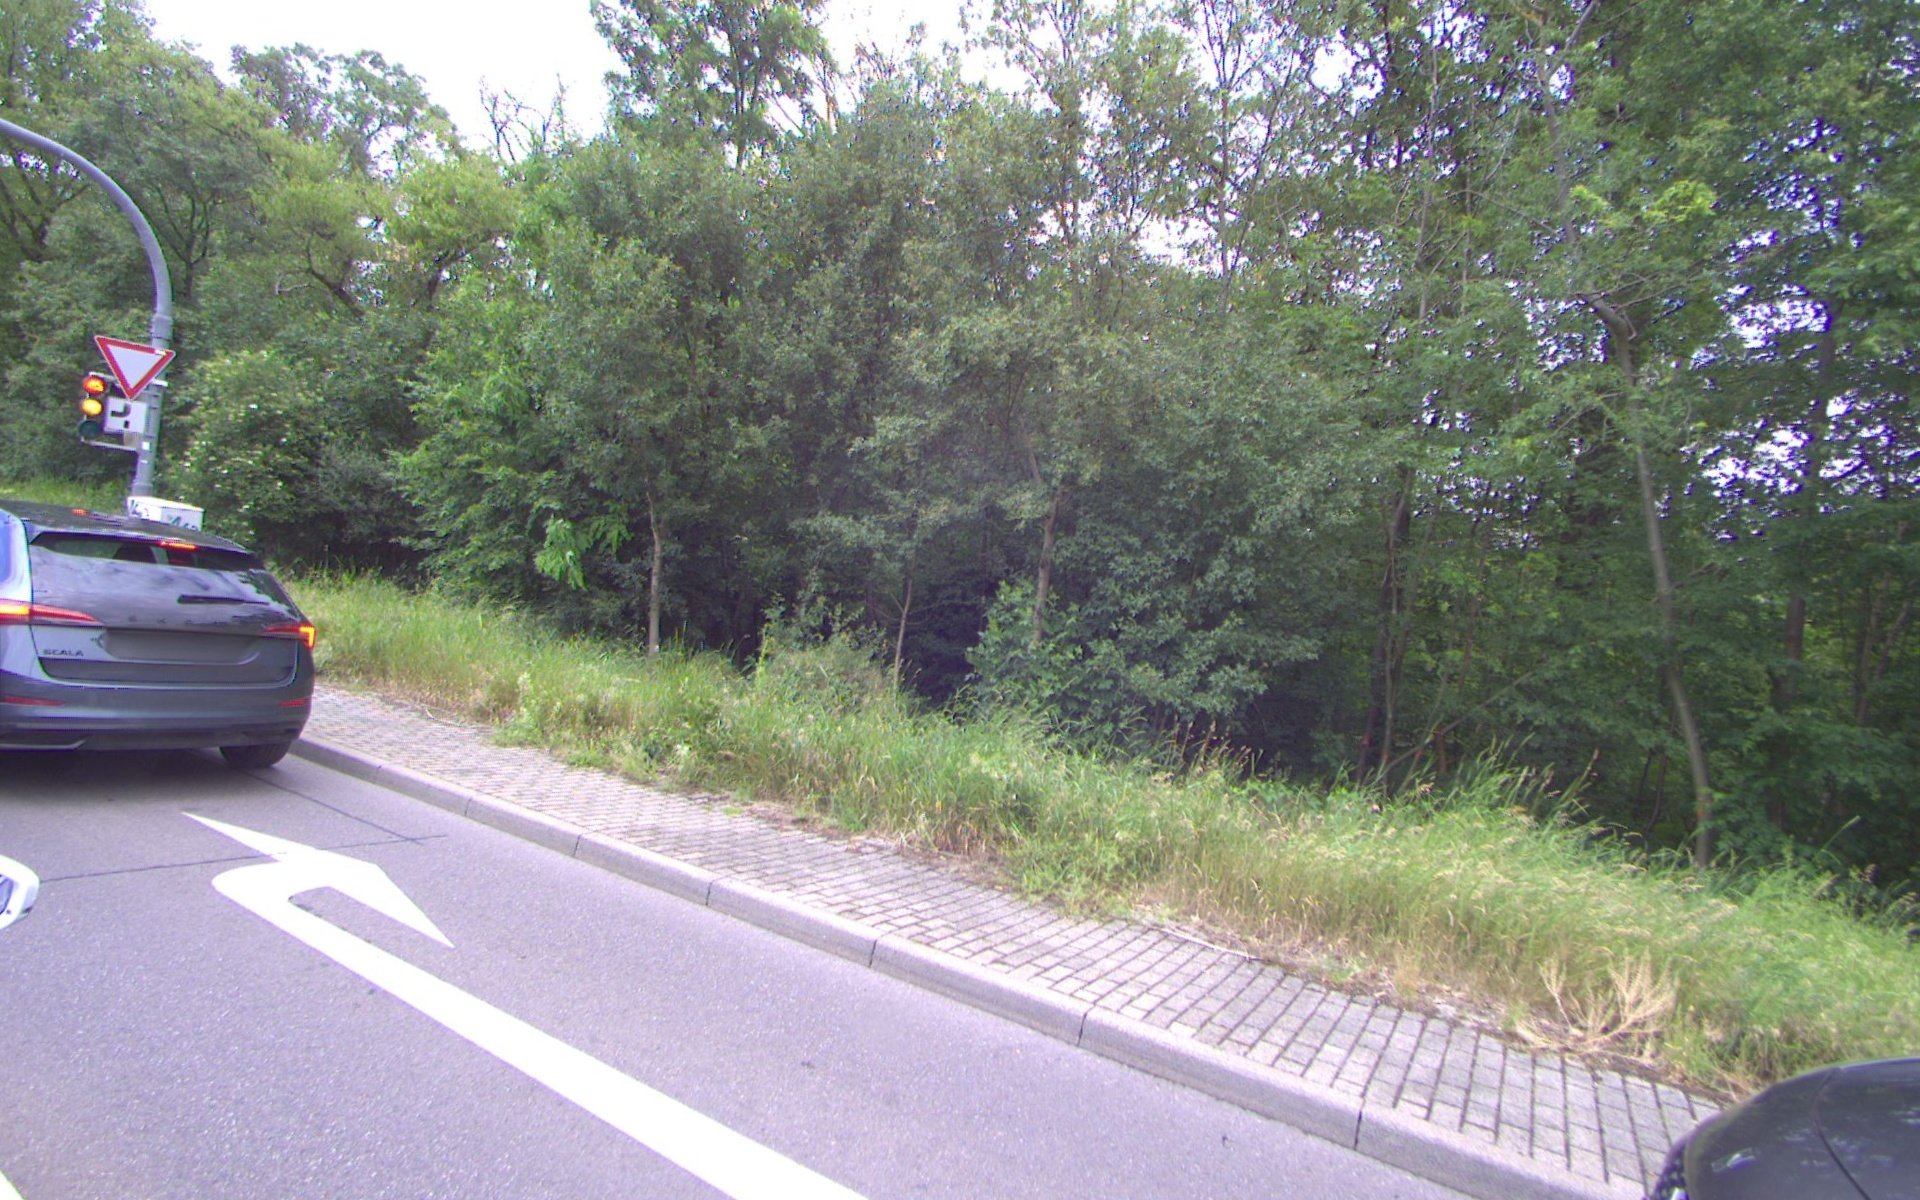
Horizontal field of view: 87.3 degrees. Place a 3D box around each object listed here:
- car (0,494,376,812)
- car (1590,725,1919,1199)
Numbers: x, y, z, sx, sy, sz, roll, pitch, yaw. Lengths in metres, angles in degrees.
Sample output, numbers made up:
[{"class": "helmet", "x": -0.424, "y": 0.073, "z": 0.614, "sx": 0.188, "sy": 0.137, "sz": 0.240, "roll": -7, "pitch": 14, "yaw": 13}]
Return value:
[{"class": "car", "x": -5.739, "y": 0.116, "z": 6.310, "sx": 3.933, "sy": 1.468, "sz": 1.796, "roll": 7, "pitch": -1, "yaw": 31}, {"class": "car", "x": 2.815, "y": 1.156, "z": 0.837, "sx": 3.792, "sy": 1.474, "sz": 1.728, "roll": 7, "pitch": -1, "yaw": 33}]
